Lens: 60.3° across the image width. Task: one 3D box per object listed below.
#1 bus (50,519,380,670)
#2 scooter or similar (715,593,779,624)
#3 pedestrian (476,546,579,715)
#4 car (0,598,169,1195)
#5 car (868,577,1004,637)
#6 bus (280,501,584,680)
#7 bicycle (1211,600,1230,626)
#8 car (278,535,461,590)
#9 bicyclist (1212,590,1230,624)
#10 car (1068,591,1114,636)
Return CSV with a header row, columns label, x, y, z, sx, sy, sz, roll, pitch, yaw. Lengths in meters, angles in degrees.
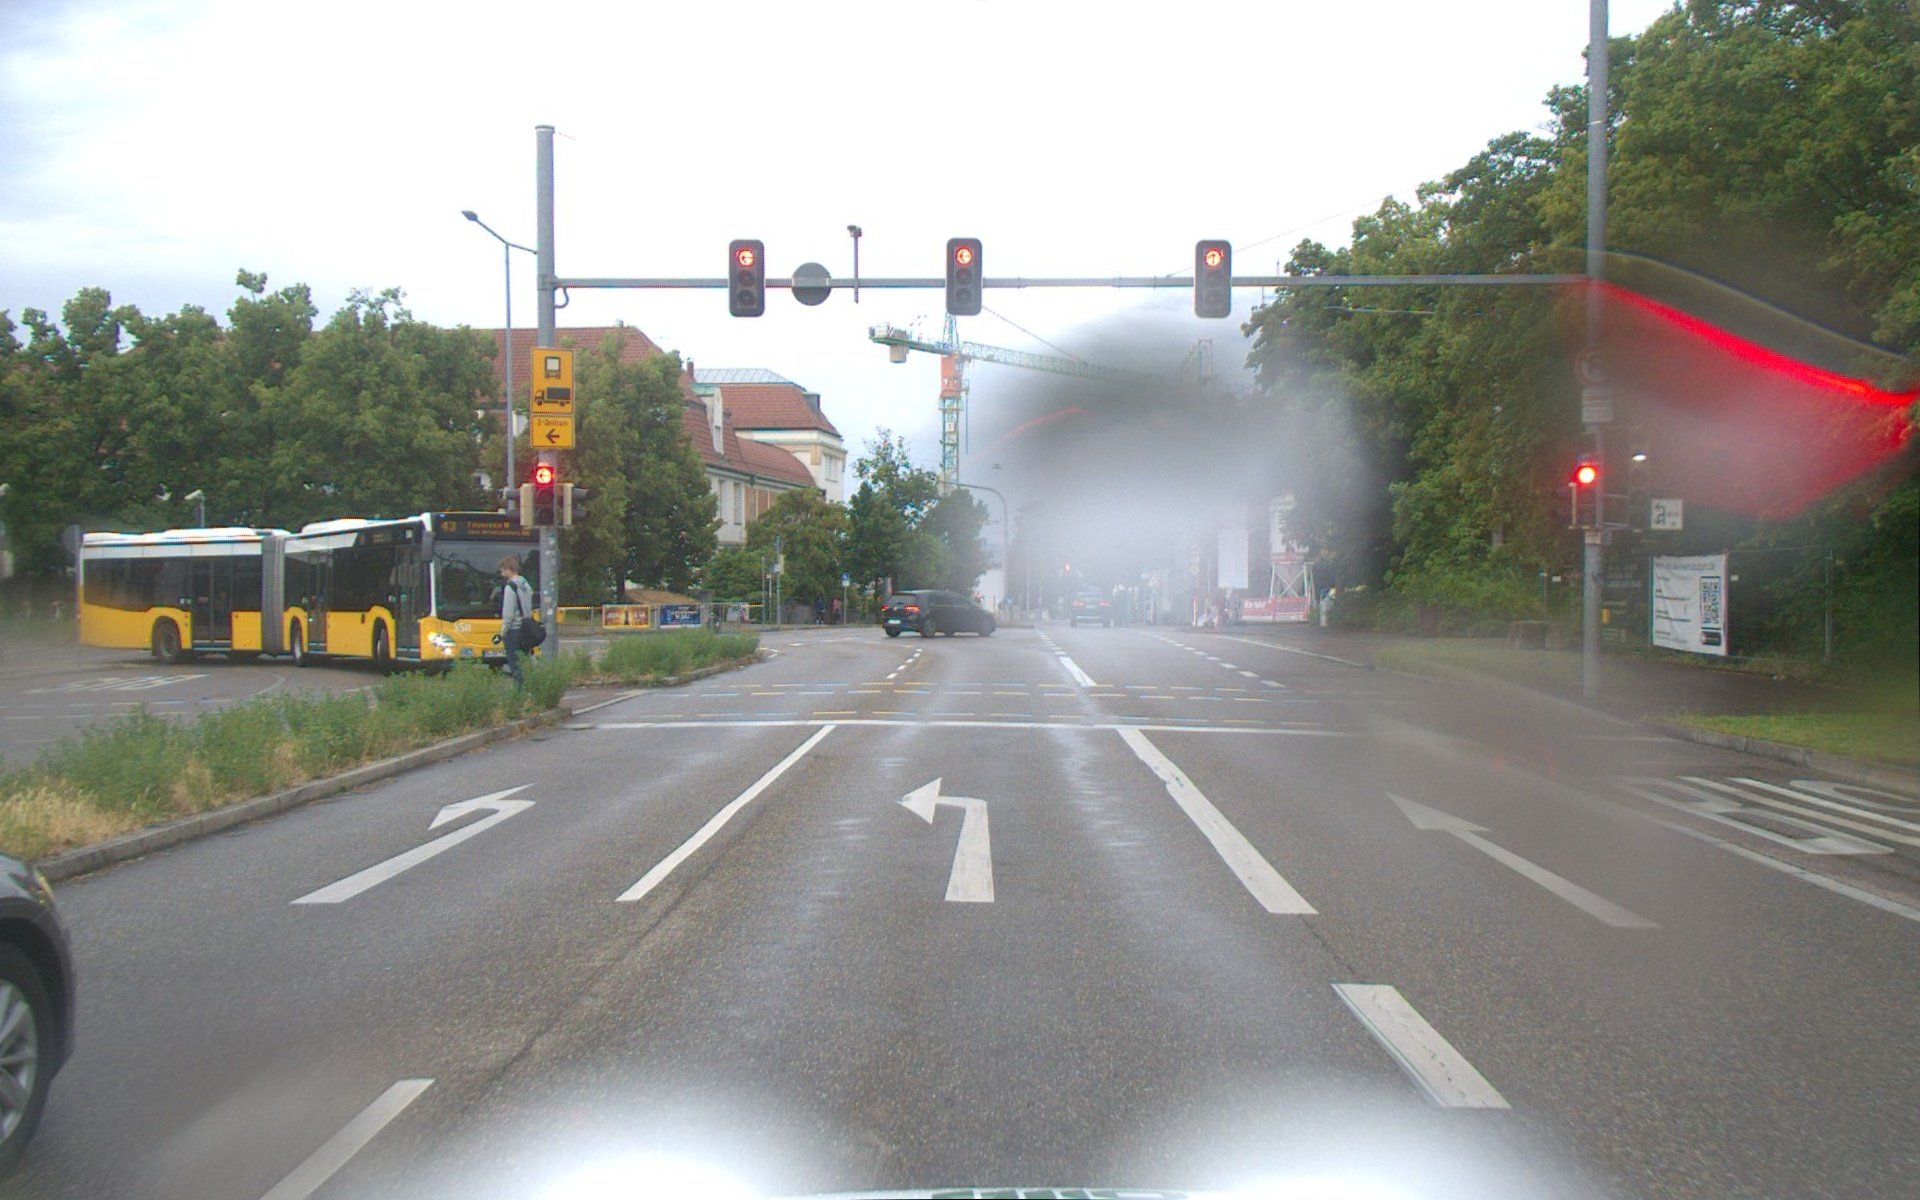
label,x,y,z,sx,sy,sz,roll,pitch,yaw
bus,-18.238,-0.117,40.315,8.386,3.365,2.893,0,0,29
scooter or similar,-10.468,0.421,81.298,3.025,1.465,0.949,-1,0,-1
pedestrian,-5.483,0.379,21.016,0.920,2.048,0.848,-3,0,7
car,-3.223,0.765,2.818,1.769,1.454,4.196,-2,0,-1
car,-0.731,0.241,51.849,3.966,1.736,1.969,3,-2,-42
bus,-11.102,-0.192,33.923,2.867,3.157,9.625,-1,0,-37
bicycle,12.673,0.634,80.485,0.705,1.214,1.756,1,-1,3
car,-16.266,-1.023,45.736,4.420,1.450,1.997,0,0,-8
bicyclist,12.680,0.350,80.441,0.705,1.591,1.143,1,-1,3
car,6.230,0.678,79.237,1.904,2.056,4.551,1,-1,1
